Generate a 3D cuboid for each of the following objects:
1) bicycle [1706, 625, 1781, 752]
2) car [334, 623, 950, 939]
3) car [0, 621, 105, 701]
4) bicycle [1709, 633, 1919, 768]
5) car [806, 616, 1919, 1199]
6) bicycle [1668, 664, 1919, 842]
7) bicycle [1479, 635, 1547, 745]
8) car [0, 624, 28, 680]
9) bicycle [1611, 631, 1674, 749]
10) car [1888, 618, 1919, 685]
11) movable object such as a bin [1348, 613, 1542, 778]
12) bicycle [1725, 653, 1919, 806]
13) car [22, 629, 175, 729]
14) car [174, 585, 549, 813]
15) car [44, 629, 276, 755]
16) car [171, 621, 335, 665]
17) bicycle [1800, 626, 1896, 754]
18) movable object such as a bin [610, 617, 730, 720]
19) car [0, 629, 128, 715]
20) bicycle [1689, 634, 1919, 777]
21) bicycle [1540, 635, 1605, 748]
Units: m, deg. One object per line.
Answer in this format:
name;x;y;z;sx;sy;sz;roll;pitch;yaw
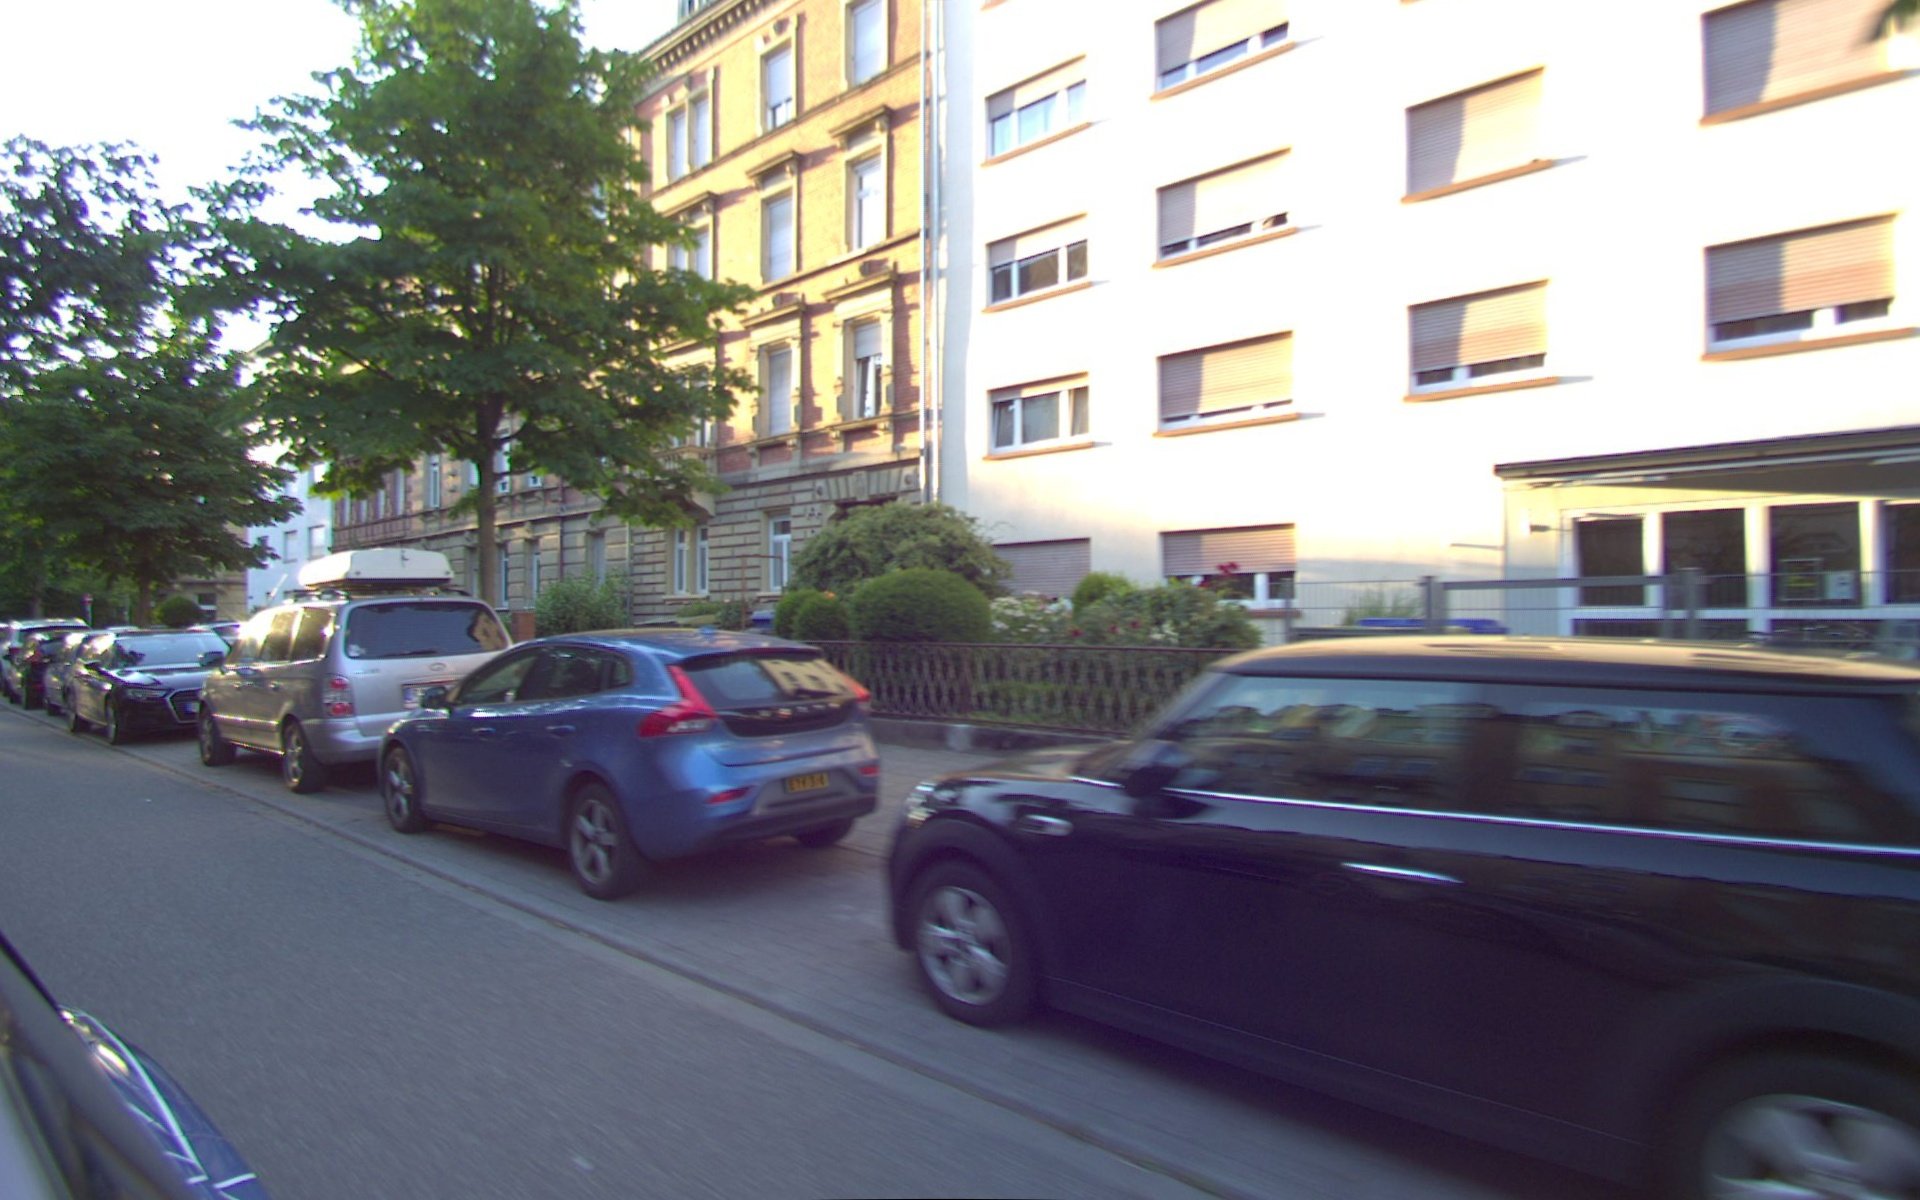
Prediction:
bicycle;7.942;0.851;10.296;0.499;1.150;1.530;-2;0;35
car;-2.400;0.896;6.874;4.587;1.423;1.843;-1;-1;40
car;-21.532;1.355;23.658;4.020;1.675;1.842;-1;-1;42
bicycle;7.520;0.859;8.752;1.690;1.100;0.384;-1;0;5
car;1.446;0.792;3.445;4.143;1.431;1.723;-2;-1;44
bicycle;5.866;0.977;6.677;1.928;1.033;0.681;-2;0;36
bicycle;6.282;0.976;11.472;0.499;1.100;1.530;-2;0;35
car;-30.268;1.593;31.213;3.936;1.649;1.657;-1;-1;39
bicycle;7.287;0.918;10.799;0.499;1.100;1.616;-2;0;35
car;21.769;1.099;21.306;1.774;1.478;3.975;-2;-2;19
movable object such as a bin;4.452;0.821;9.326;1.398;1.362;0.857;-2;0;43
bicycle;6.913;0.986;7.827;1.529;1.100;0.500;-1;0;4
car;-14.620;1.253;17.134;3.295;1.505;1.423;-1;-1;39
car;-6.165;0.822;10.176;4.620;1.792;1.843;-1;-1;40
car;-11.121;1.148;13.974;4.020;1.452;1.711;-1;-1;39
car;-24.111;1.435;34.619;1.625;1.351;4.355;-2;-1;42
bicycle;8.646;0.833;9.895;0.499;1.100;1.530;-2;0;35
movable object such as a bin;-4.231;0.962;14.748;1.549;1.398;0.937;-2;0;38
car;-17.918;1.351;20.132;3.625;1.510;1.659;-2;-1;43
bicycle;6.992;0.854;8.342;1.528;1.100;0.500;-1;0;4
bicycle;6.743;0.961;11.119;0.499;1.100;1.530;-2;0;35
